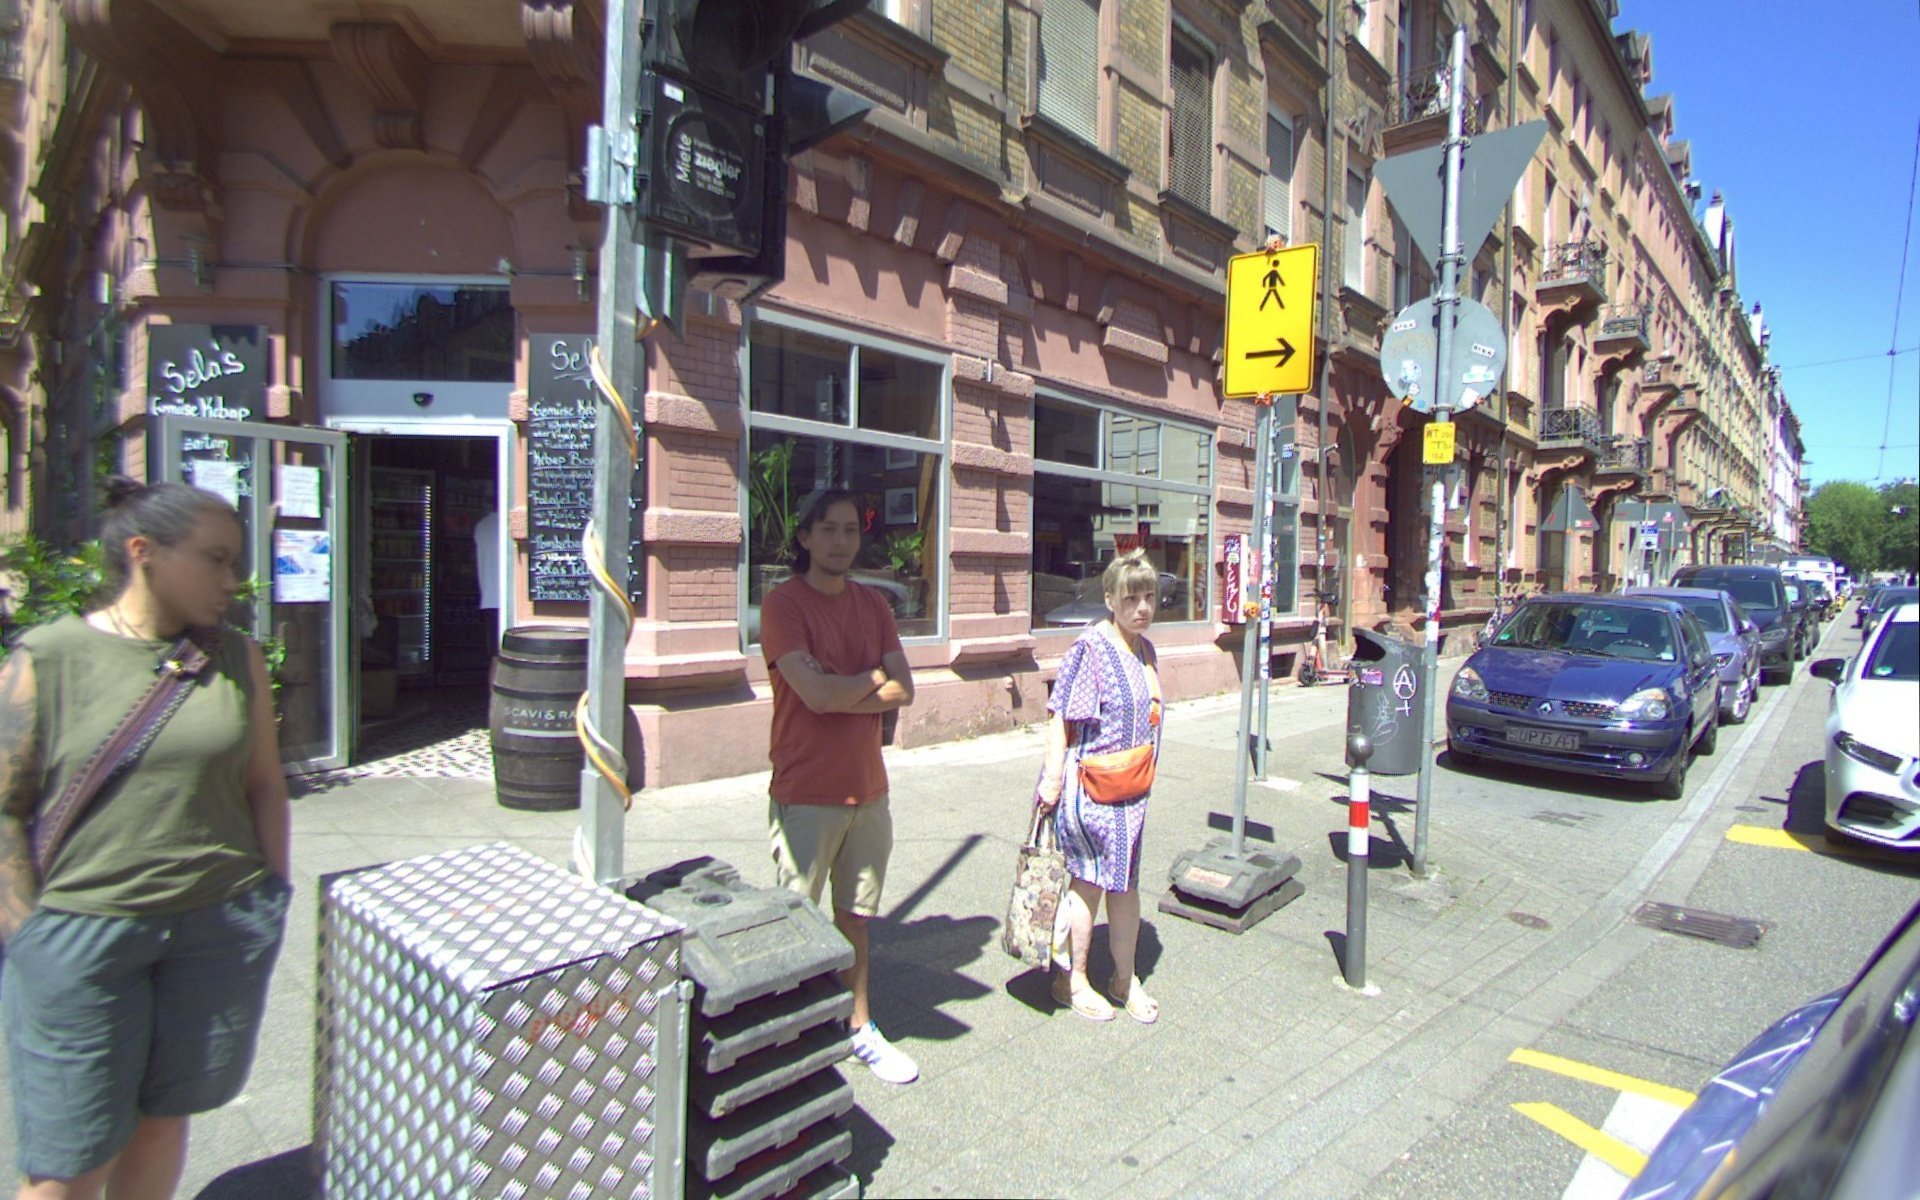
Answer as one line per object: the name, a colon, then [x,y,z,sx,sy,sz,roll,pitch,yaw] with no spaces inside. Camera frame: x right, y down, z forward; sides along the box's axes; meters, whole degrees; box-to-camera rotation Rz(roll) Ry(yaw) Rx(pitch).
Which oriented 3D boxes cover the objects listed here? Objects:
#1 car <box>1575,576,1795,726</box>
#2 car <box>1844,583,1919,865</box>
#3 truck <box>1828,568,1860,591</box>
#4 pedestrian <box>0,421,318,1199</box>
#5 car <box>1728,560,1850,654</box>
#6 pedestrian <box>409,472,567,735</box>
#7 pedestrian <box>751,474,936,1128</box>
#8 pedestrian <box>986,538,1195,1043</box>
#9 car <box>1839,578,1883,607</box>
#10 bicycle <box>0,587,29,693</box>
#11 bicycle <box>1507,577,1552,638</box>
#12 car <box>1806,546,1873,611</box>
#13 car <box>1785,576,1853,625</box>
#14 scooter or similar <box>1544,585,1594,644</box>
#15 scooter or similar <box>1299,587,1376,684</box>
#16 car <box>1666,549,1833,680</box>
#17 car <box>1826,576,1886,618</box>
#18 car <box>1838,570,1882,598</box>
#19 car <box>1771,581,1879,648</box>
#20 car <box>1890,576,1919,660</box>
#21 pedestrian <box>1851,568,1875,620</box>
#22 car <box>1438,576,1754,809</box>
car: [8.964,0.458,12.355,1.724,1.449,4.419,3,3,41]
car: [6.802,0.632,6.304,1.809,1.443,4.176,2,2,43]
truck: [80.954,-1.864,92.654,1.993,2.038,4.826,2,2,43]
pedestrian: [-1.504,0.504,1.877,0.470,1.579,0.460,0,1,-41]
car: [17.217,0.086,20.955,1.701,1.755,3.938,1,1,43]
pedestrian: [-3.401,0.018,7.350,0.923,1.840,0.458,0,4,-7]
pedestrian: [-0.331,0.517,2.870,0.394,1.696,0.333,0,1,-41]
pedestrian: [0.435,0.581,3.449,0.429,1.561,0.494,0,4,-40]
car: [49.461,-0.442,55.584,1.675,1.556,3.942,1,1,40]
bicycle: [-10.279,0.397,10.736,1.691,1.020,0.514,2,2,45]
bicycle: [10.884,0.129,19.315,0.353,1.117,1.728,2,2,43]
car: [39.031,-0.936,44.846,2.062,2.736,4.961,-1,1,43]
car: [27.717,-0.035,32.680,1.596,1.480,3.637,1,1,40]
scooter or similar: [12.725,0.268,21.114,0.476,1.167,2.116,1,1,43]
scooter or similar: [4.818,0.427,12.893,1.248,1.192,0.293,0,1,-37]
car: [12.729,0.135,16.213,1.823,1.788,4.273,3,3,41]
car: [35.586,-0.157,40.249,1.675,1.556,3.942,1,1,40]
car: [44.572,-0.818,50.167,1.527,1.317,3.634,1,1,40]
car: [20.762,0.281,24.424,1.757,1.467,3.853,1,1,37]
car: [18.813,0.282,19.144,1.775,1.487,3.938,0,1,43]
pedestrian: [33.978,-0.218,38.072,0.633,1.938,0.364,2,1,44]
car: [5.413,0.553,8.419,1.626,1.449,3.605,3,3,42]
